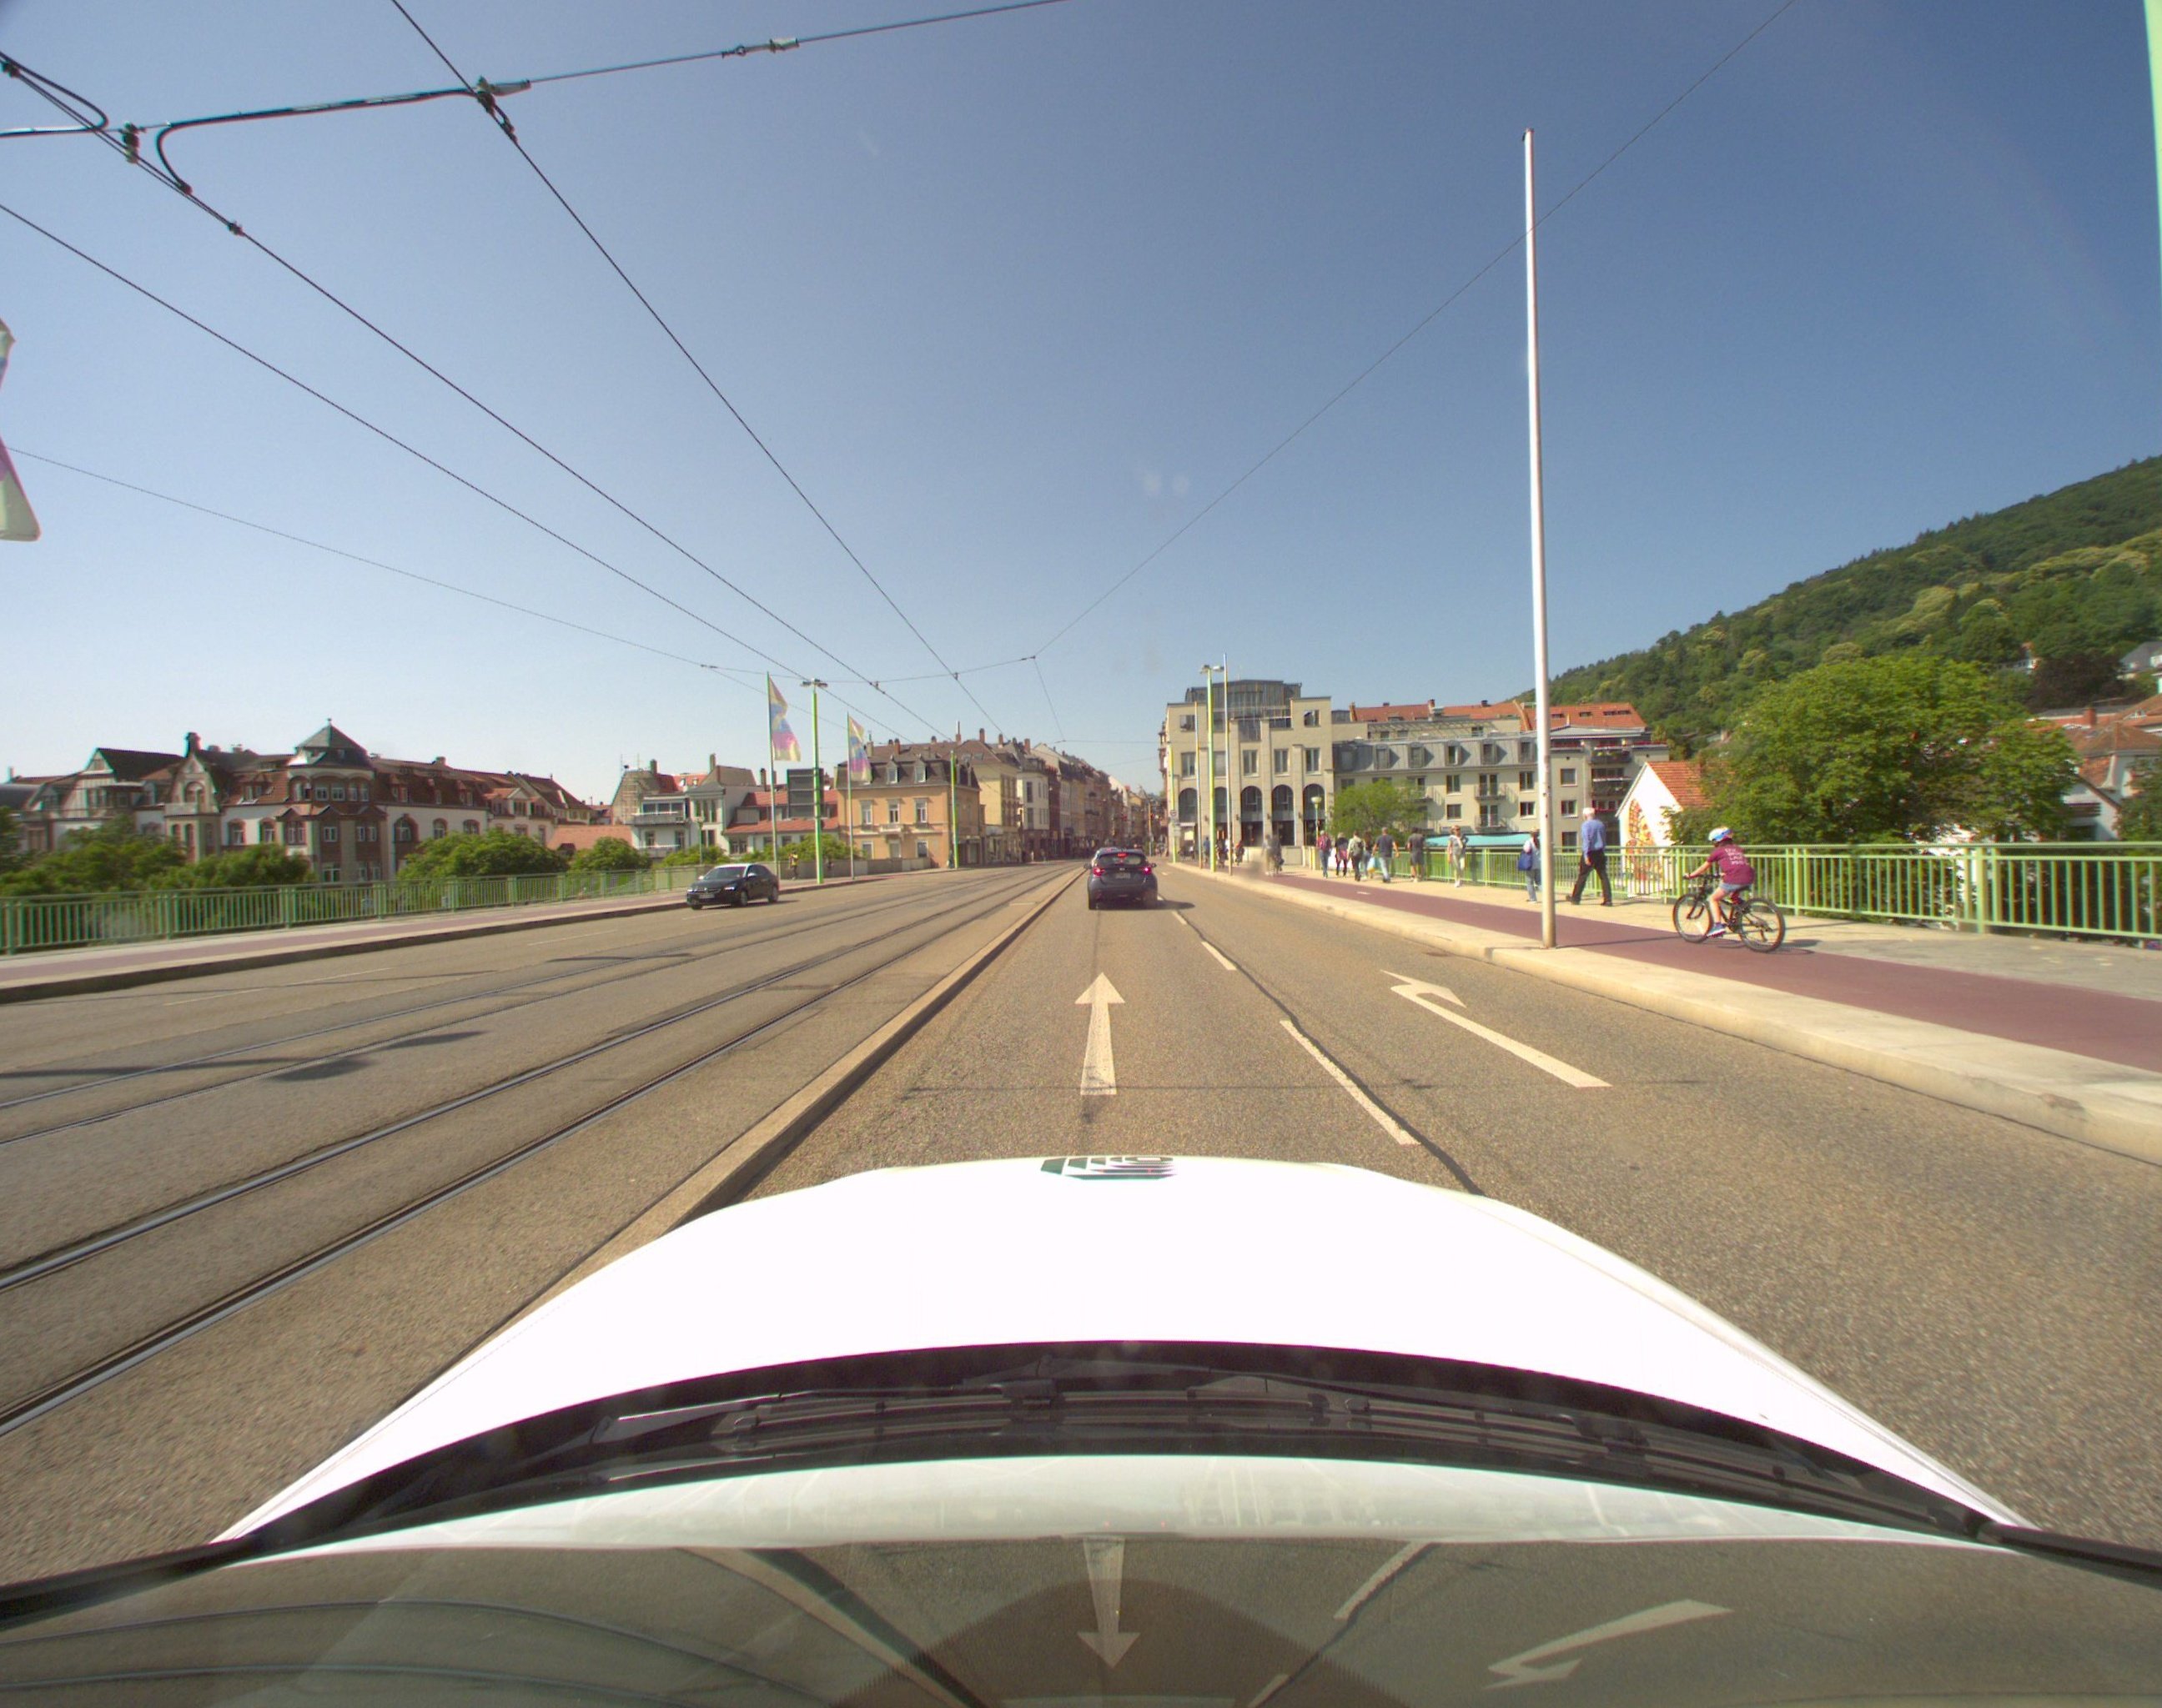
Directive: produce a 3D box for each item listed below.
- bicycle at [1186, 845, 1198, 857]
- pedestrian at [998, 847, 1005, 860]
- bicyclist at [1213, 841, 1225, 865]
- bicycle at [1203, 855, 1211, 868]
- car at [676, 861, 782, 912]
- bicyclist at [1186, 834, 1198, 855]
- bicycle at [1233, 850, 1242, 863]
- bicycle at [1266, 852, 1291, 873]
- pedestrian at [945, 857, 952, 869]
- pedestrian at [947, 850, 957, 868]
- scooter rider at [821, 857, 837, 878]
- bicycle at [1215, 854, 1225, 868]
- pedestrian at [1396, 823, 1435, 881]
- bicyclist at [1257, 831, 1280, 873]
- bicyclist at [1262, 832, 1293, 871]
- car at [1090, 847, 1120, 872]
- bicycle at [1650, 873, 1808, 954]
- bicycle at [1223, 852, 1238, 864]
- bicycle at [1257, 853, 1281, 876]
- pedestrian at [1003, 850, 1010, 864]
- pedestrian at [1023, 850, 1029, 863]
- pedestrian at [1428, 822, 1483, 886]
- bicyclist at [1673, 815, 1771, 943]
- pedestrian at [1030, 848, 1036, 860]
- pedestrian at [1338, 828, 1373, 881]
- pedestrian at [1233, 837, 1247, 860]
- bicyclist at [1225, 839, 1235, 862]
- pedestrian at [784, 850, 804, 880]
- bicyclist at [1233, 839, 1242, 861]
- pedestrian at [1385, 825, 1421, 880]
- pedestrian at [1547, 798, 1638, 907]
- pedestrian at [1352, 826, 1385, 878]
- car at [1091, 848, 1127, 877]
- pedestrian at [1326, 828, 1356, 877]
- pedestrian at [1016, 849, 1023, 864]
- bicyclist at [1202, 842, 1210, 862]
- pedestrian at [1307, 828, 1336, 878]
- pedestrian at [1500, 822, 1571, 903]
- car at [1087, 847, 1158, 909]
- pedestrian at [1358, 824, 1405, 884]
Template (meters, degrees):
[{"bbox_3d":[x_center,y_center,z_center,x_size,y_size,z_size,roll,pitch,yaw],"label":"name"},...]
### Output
[{"bbox_3d":[13.192,-0.362,96.785,1.108,1.420,3.009,-1,0,2],"label":"bicycle"},{"bbox_3d":[-9.501,-0.071,97.476,0.646,1.602,0.566,2,2,2],"label":"pedestrian"},{"bbox_3d":[8.152,-0.064,48.036,0.536,1.316,0.672,-4,0,4],"label":"bicyclist"},{"bbox_3d":[8.005,0.489,51.665,0.414,0.765,0.963,-3,0,5],"label":"bicycle"},{"bbox_3d":[-11.759,1.047,27.497,1.710,1.454,3.903,-3,0,2],"label":"car"},{"bbox_3d":[13.148,-1.108,96.618,1.222,2.528,1.106,-1,0,4],"label":"bicyclist"},{"bbox_3d":[9.914,0.154,51.591,0.415,0.765,0.962,-3,0,2],"label":"bicycle"},{"bbox_3d":[8.821,0.380,36.478,0.794,0.882,1.831,-3,0,5],"label":"bicycle"},{"bbox_3d":[-12.524,0.828,77.065,0.409,1.146,0.546,2,0,10],"label":"pedestrian"},{"bbox_3d":[-11.888,0.484,75.026,0.758,1.654,0.712,2,0,5],"label":"pedestrian"},{"bbox_3d":[-16.593,0.879,53.708,0.763,1.315,0.600,2,0,13],"label":"scooter rider"},{"bbox_3d":[8.205,0.403,48.094,0.414,0.765,1.207,-3,0,4],"label":"bicycle"},{"bbox_3d":[10.477,-0.066,25.530,0.736,1.718,1.016,-3,0,2],"label":"pedestrian"},{"bbox_3d":[7.797,-0.079,33.872,0.699,1.695,0.925,-3,0,2],"label":"bicyclist"},{"bbox_3d":[8.796,-0.115,36.514,1.134,1.695,0.926,-3,0,5],"label":"bicyclist"},{"bbox_3d":[1.599,0.325,53.447,1.890,1.530,4.002,0,0,2],"label":"car"},{"bbox_3d":[7.373,0.641,9.363,0.512,0.765,1.661,-3,0,2],"label":"bicycle"},{"bbox_3d":[9.890,0.256,53.980,0.419,0.765,0.951,-1,3,-37],"label":"bicycle"},{"bbox_3d":[7.806,0.435,33.884,0.701,0.882,1.527,-3,0,3],"label":"bicycle"},{"bbox_3d":[-8.819,0.318,96.467,0.646,1.602,0.566,2,2,2],"label":"pedestrian"},{"bbox_3d":[-6.730,0.321,100.313,0.646,1.602,0.566,2,2,2],"label":"pedestrian"},{"bbox_3d":[10.236,0.000,22.305,0.944,1.662,1.083,-3,0,1],"label":"pedestrian"},{"bbox_3d":[7.345,0.272,9.355,0.532,1.383,0.669,-3,0,2],"label":"bicyclist"},{"bbox_3d":[-6.917,-0.016,117.064,0.733,1.766,0.787,-2,1,2],"label":"pedestrian"},{"bbox_3d":[9.233,0.022,27.449,0.752,1.718,1.073,-3,0,2],"label":"pedestrian"},{"bbox_3d":[11.292,-0.374,57.853,0.736,1.614,1.016,3,0,2],"label":"pedestrian"},{"bbox_3d":[9.881,-0.239,54.002,0.487,1.466,0.438,-2,2,-37],"label":"bicyclist"},{"bbox_3d":[-17.087,0.643,48.466,0.741,1.781,0.803,-3,0,6],"label":"pedestrian"},{"bbox_3d":[9.891,-0.266,51.584,0.420,1.383,0.444,-4,0,2],"label":"bicyclist"},{"bbox_3d":[10.506,-0.045,26.576,0.736,1.718,1.016,-3,0,2],"label":"pedestrian"},{"bbox_3d":[9.418,-0.035,15.045,0.922,1.897,1.137,-3,0,1],"label":"pedestrian"},{"bbox_3d":[10.122,-0.061,28.690,0.736,1.746,1.016,-3,0,2],"label":"pedestrian"},{"bbox_3d":[1.548,0.442,45.253,1.890,1.530,4.002,0,0,2],"label":"car"},{"bbox_3d":[9.778,-0.055,30.625,0.736,1.777,1.016,-3,0,2],"label":"pedestrian"},{"bbox_3d":[-7.641,0.309,101.195,0.733,1.766,0.787,2,0,2],"label":"pedestrian"},{"bbox_3d":[7.935,-0.129,51.678,0.420,1.256,0.444,-4,0,5],"label":"bicyclist"},{"bbox_3d":[9.001,-0.057,30.529,0.736,1.802,1.016,-3,0,2],"label":"pedestrian"},{"bbox_3d":[9.021,0.160,16.188,0.826,1.529,0.933,-3,0,1],"label":"pedestrian"},{"bbox_3d":[1.060,0.565,21.460,1.713,1.473,3.660,0,0,2],"label":"car"},{"bbox_3d":[9.426,-0.005,25.589,0.974,1.777,1.208,-3,0,1],"label":"pedestrian"}]
